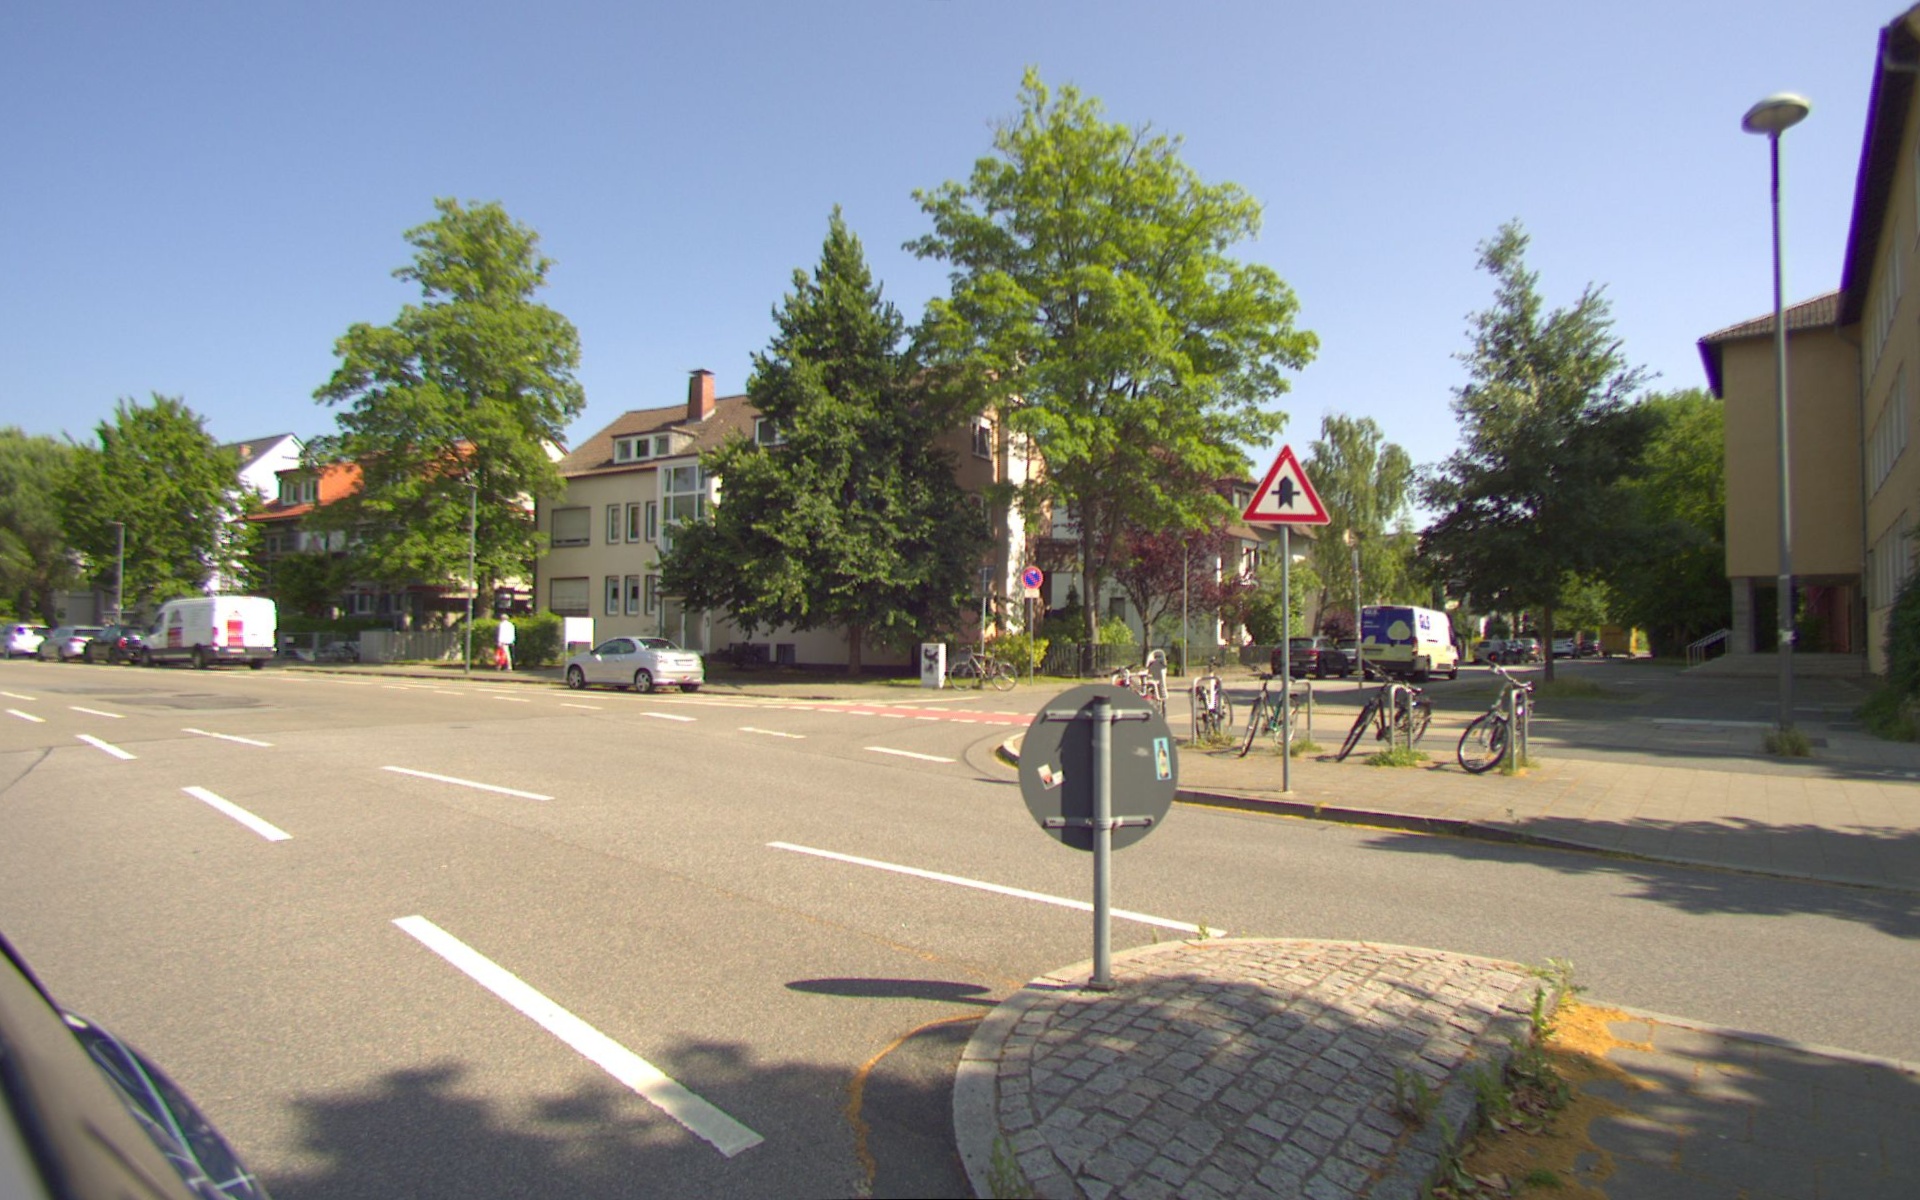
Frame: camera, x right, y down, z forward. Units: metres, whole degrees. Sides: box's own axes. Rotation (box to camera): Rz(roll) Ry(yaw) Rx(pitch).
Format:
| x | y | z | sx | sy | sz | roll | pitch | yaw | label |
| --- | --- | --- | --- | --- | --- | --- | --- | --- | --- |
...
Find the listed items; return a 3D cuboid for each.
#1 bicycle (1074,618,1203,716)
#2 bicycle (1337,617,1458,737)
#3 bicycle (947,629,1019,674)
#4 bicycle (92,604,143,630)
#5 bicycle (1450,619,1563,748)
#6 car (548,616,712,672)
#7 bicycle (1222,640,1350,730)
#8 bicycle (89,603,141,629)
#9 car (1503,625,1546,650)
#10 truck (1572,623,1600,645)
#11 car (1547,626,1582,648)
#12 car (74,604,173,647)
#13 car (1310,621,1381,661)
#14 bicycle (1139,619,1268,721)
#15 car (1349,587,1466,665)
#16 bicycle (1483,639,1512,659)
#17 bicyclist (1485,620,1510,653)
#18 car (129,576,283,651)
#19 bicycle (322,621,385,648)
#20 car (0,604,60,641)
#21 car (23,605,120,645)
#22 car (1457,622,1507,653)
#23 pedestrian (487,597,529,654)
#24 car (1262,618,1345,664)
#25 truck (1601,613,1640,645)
| x | y | z | sx | sy | sz | roll | pitch | yaw | label |
| --- | --- | --- | --- | --- | --- | --- | --- | --- | --- |
| 2.565 | 0.921 | 14.259 | 0.738 | 1.266 | 2.521 | -1 | -3 | 37 | bicycle |
| 5.186 | 0.869 | 11.888 | 0.738 | 1.266 | 2.491 | -1 | -3 | 37 | bicycle |
| 0.558 | 1.248 | 24.671 | 1.688 | 1.089 | 0.378 | 1 | -2 | -9 | bicycle |
| -47.386 | 0.971 | 56.945 | 0.501 | 1.394 | 2.158 | 0 | -3 | 27 | bicycle |
| 6.088 | 0.853 | 11.202 | 0.738 | 1.266 | 2.521 | 0 | -2 | 37 | bicycle |
| -8.217 | 1.071 | 25.116 | 3.987 | 1.276 | 1.707 | -1 | -3 | 32 | car |
| 4.109 | 1.017 | 12.598 | 0.738 | 0.995 | 2.521 | -1 | -3 | 37 | bicycle |
| -47.064 | 0.924 | 56.378 | 0.501 | 1.394 | 2.158 | 0 | -3 | 27 | bicycle |
| 37.721 | 2.492 | 67.558 | 1.862 | 1.650 | 3.948 | -1 | -2 | 39 | car |
| 55.211 | 3.005 | 89.198 | 1.795 | 1.839 | 3.950 | -1 | -2 | 36 | truck |
| 47.200 | 2.862 | 78.986 | 1.862 | 1.650 | 3.948 | -1 | -2 | 39 | car |
| -32.104 | 0.988 | 38.822 | 3.987 | 1.571 | 1.707 | -1 | -3 | 32 | car |
| 15.638 | 1.652 | 40.980 | 1.746 | 1.564 | 3.748 | -1 | -2 | 37 | car |
| 3.309 | 0.909 | 13.546 | 0.738 | 1.249 | 2.521 | -1 | -3 | 37 | bicycle |
| 15.971 | 0.977 | 35.918 | 2.281 | 2.543 | 6.054 | 0 | -3 | 39 | car |
| 23.236 | 2.097 | 43.729 | 0.749 | 0.830 | 2.147 | -1 | -2 | 38 | bicycle |
| 23.214 | 1.557 | 43.689 | 0.714 | 1.402 | 1.279 | 0 | -1 | 39 | bicyclist |
| -26.939 | 0.518 | 36.120 | 5.926 | 2.516 | 2.075 | 0 | -3 | 29 | car |
| -24.276 | 1.374 | 40.546 | 0.773 | 1.008 | 2.051 | 0 | -1 | 33 | bicycle |
| -41.555 | 1.008 | 44.635 | 3.987 | 1.571 | 1.707 | -1 | -3 | 32 | car |
| -36.524 | 1.023 | 41.560 | 4.657 | 1.571 | 1.707 | -1 | -3 | 32 | car |
| 30.973 | 2.215 | 59.983 | 1.862 | 1.719 | 3.948 | -1 | -2 | 39 | car |
| -14.531 | 0.820 | 32.529 | 0.724 | 1.793 | 0.965 | 0 | -2 | 36 | pedestrian |
| 12.339 | 1.458 | 36.237 | 1.746 | 1.564 | 3.748 | -1 | -2 | 37 | car |
| 56.905 | 2.503 | 87.083 | 2.231 | 2.616 | 8.711 | -1 | -2 | 37 | truck |
